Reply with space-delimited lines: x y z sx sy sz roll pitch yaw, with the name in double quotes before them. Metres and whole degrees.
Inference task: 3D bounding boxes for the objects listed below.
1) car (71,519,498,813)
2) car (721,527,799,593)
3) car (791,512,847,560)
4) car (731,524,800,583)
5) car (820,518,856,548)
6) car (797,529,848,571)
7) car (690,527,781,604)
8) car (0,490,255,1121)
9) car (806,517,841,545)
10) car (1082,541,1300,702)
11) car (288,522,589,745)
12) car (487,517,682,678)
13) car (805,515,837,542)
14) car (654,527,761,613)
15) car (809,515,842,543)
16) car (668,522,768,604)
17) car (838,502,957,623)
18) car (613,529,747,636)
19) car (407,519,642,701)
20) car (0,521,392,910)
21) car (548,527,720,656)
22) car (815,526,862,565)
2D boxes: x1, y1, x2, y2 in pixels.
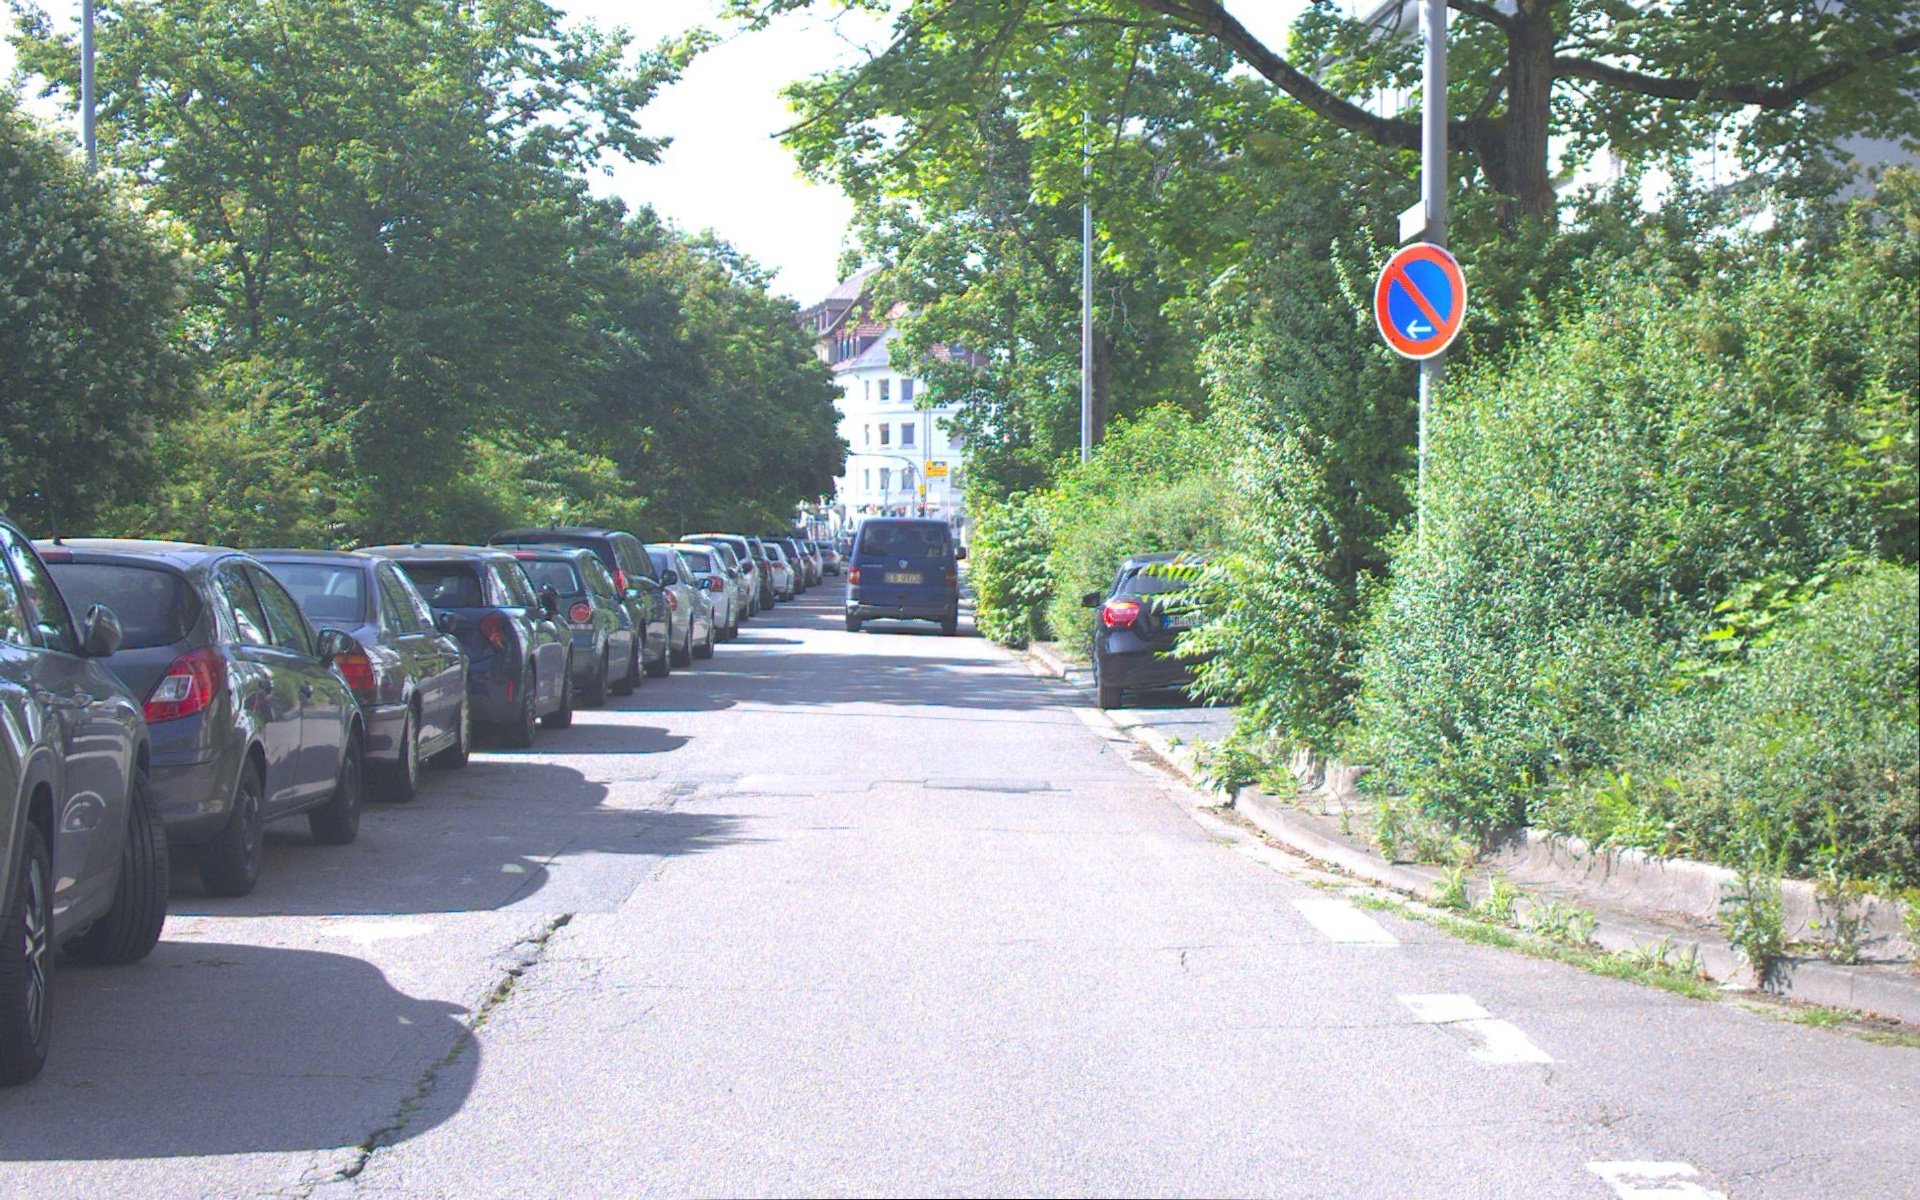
"car" -3.944 0.301 20.785 1.664 1.506 4.594 2 1 -1
"car" -4.923 -1.018 85.044 1.664 1.504 4.009 2 1 -1
"car" -4.599 -2.103 112.483 1.664 1.504 4.008 1 1 0
"car" -5.383 -1.314 95.553 1.664 1.504 4.009 2 1 -1
"car" -6.760 -3.719 190.664 1.993 1.651 4.000 0 1 -2
"car" -5.505 -2.007 138.034 1.993 1.651 4.000 0 1 -2
"car" -4.781 -0.762 73.714 1.664 1.504 4.009 2 1 -1
"car" -3.363 0.464 10.369 1.771 1.574 4.187 0 2 -2
"car" -8.031 -4.077 202.671 1.993 1.651 4.000 0 1 -2
"car" 2.147 0.162 32.940 1.726 1.415 4.000 -1 1 -1
"car" -3.840 0.191 25.848 1.664 1.468 3.790 2 1 -1
"car" -3.925 -0.068 36.443 1.664 1.578 3.932 0 2 0
"car" -8.717 -4.490 215.720 1.993 1.651 3.741 0 1 -2
"car" -4.579 -0.580 62.776 1.664 1.504 4.201 0 1 0
"car" -8.256 -4.358 211.130 1.993 1.651 3.741 0 1 -2
"car" -4.775 -0.758 68.212 1.664 1.504 4.009 2 1 -1
"car" -1.047 -0.664 58.464 1.883 1.915 4.009 2 1 -1
"car" -4.183 -0.301 51.901 1.664 1.463 4.201 2 1 -1
"car" -3.962 0.044 31.785 1.664 1.506 3.790 2 1 -1
"car" -3.712 0.412 15.475 1.664 1.469 3.877 2 1 -1
"car" -3.913 -0.147 41.803 1.664 1.402 4.320 2 1 -1
"car" -5.200 -2.344 147.835 1.993 1.651 4.000 0 1 -2
